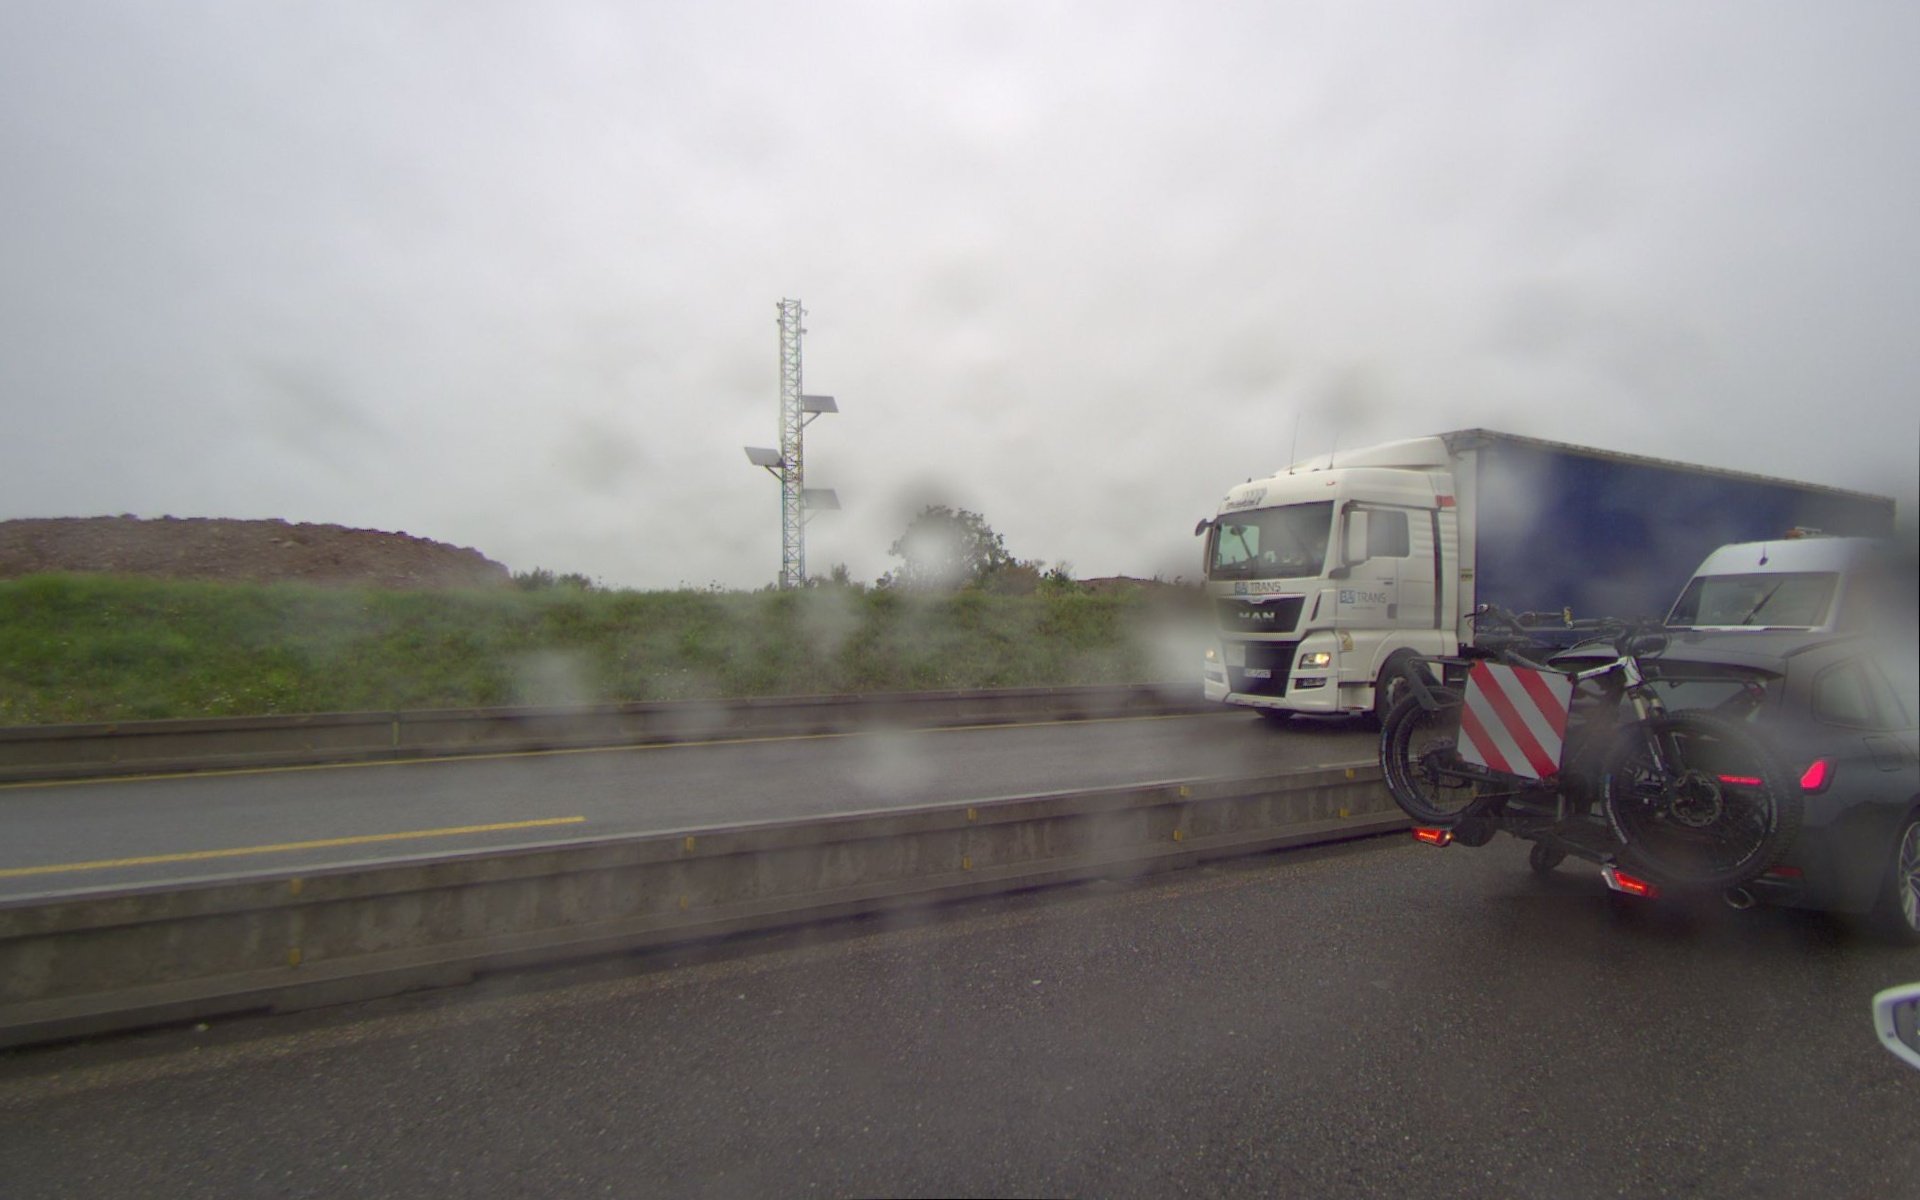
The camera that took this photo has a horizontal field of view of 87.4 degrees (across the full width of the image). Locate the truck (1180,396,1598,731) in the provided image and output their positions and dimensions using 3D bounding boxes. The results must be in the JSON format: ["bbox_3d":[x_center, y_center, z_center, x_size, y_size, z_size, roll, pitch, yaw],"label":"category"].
[{"bbox_3d":[6.389,-0.441,14.892,5.748,4.089,2.776,0,0,-29],"label":"truck"}]

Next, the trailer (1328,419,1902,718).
[{"bbox_3d":[12.515,-0.413,18.288,13.572,4.089,2.767,0,0,-29],"label":"trailer"}]

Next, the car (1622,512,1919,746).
[{"bbox_3d":[12.184,0.340,14.080,6.801,2.689,1.997,0,0,-30],"label":"car"}]

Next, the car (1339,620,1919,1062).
[{"bbox_3d":[4.804,0.923,5.782,5.559,1.482,1.727,-1,0,-29],"label":"car"}]
